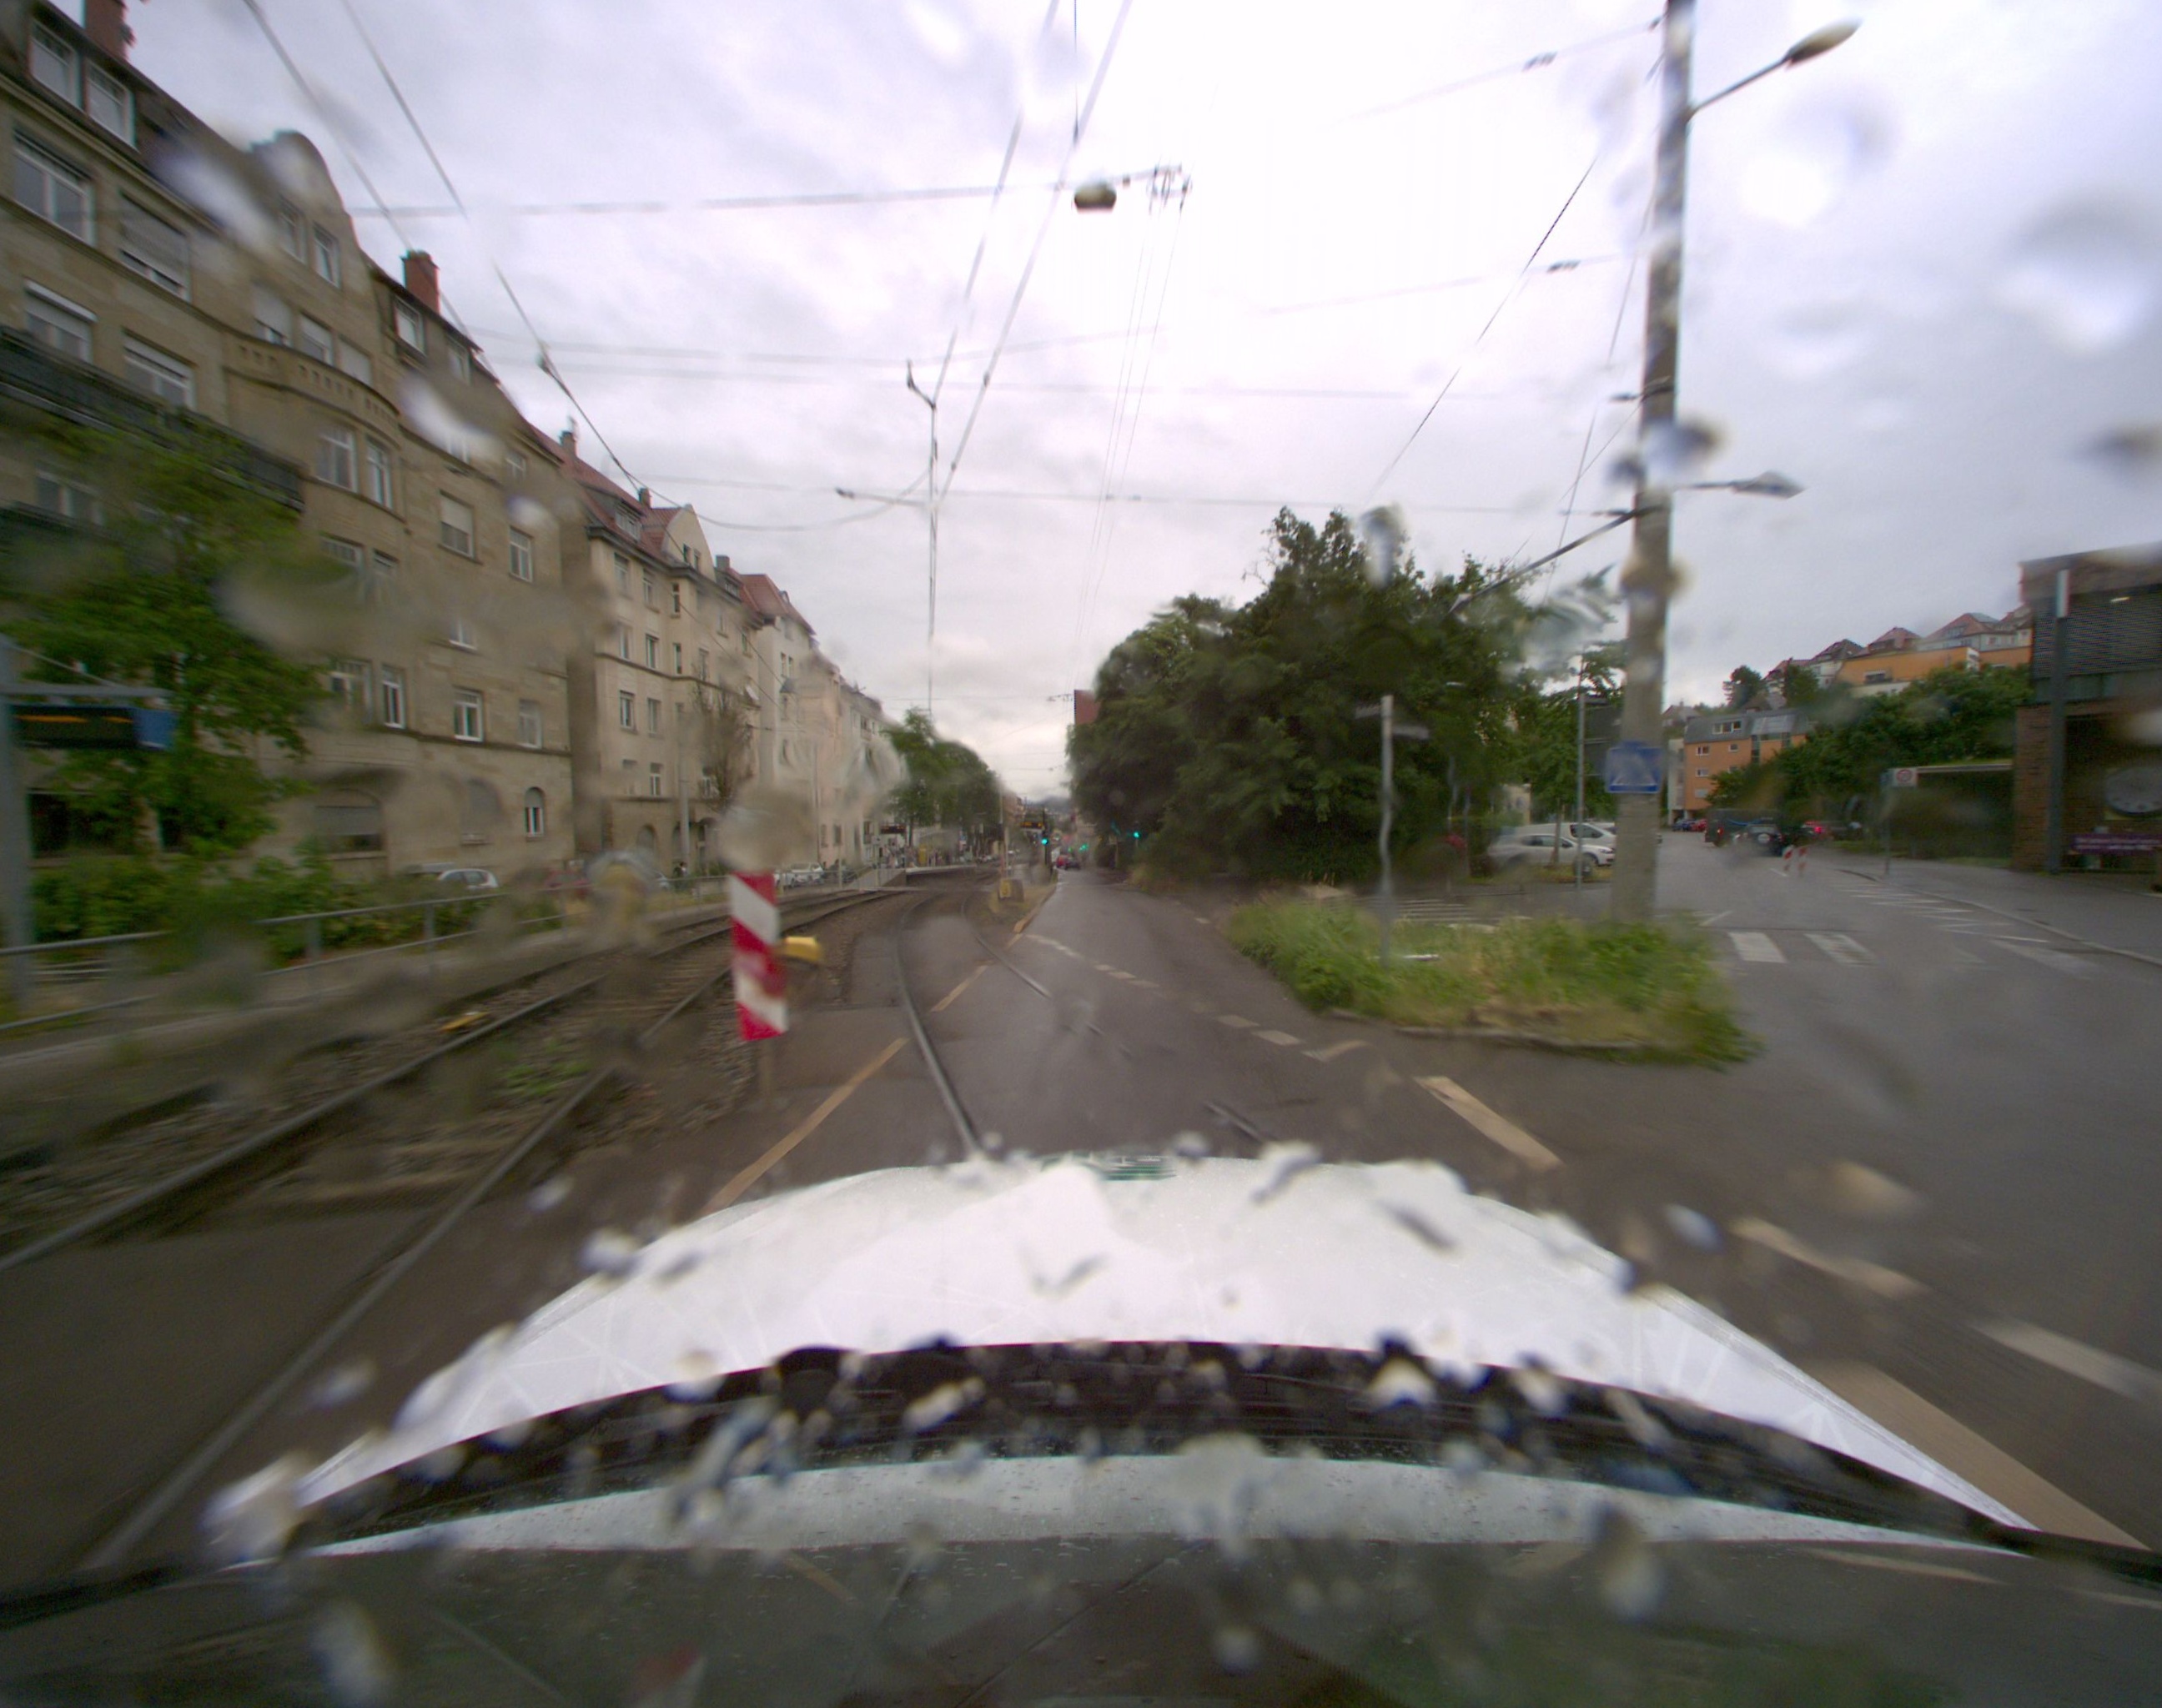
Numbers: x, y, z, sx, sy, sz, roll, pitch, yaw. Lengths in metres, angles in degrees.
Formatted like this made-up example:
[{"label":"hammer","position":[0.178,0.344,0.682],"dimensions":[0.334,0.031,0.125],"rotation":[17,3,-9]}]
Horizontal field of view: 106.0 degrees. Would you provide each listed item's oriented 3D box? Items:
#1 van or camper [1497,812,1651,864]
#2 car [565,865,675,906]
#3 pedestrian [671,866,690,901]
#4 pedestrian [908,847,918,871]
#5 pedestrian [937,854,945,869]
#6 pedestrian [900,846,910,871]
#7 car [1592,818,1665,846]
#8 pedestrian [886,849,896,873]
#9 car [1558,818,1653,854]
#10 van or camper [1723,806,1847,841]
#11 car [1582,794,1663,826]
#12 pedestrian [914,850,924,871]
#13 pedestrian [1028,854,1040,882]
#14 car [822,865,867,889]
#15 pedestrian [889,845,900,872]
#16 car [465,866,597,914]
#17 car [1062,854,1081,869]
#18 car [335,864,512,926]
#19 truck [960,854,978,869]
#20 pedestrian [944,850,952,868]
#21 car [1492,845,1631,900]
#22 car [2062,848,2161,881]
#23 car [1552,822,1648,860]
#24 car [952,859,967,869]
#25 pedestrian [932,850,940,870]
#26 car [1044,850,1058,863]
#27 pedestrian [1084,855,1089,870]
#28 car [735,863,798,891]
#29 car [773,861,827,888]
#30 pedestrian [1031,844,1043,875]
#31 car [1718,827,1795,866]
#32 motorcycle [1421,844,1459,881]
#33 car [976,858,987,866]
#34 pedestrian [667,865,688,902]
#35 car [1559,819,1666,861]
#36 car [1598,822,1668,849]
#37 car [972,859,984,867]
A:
[{"label":"van or camper","position":[20.450,-0.620,33.927],"dimensions":[5.115,1.834,2.012],"rotation":[-3,-1,43]},{"label":"car","position":[-18.183,1.201,32.415],"dimensions":[1.713,1.442,4.864],"rotation":[-1,-1,-2]},{"label":"pedestrian","position":[-17.848,1.316,36.311],"dimensions":[0.518,1.532,0.620],"rotation":[-1,-1,0]},{"label":"pedestrian","position":[-13.185,0.418,63.871],"dimensions":[0.514,1.838,0.761],"rotation":[-3,-1,-2]},{"label":"pedestrian","position":[-12.944,0.693,75.371],"dimensions":[0.548,1.413,0.613],"rotation":[-3,-1,-2]},{"label":"pedestrian","position":[-13.062,0.363,60.336],"dimensions":[0.514,1.838,0.761],"rotation":[-3,-1,-2]},{"label":"car","position":[37.206,-1.491,55.359],"dimensions":[3.949,1.772,1.859],"rotation":[0,1,40]},{"label":"pedestrian","position":[-13.090,0.459,56.032],"dimensions":[0.514,1.605,0.562],"rotation":[-3,-1,-2]},{"label":"car","position":[27.534,-0.909,42.805],"dimensions":[3.949,1.772,1.859],"rotation":[0,1,40]},{"label":"van or camper","position":[46.160,-1.960,53.544],"dimensions":[5.882,2.013,2.008],"rotation":[-2,0,15]},{"label":"car","position":[33.349,-2.646,50.159],"dimensions":[3.949,1.772,1.859],"rotation":[0,1,40]},{"label":"pedestrian","position":[-13.233,0.542,66.404],"dimensions":[0.592,1.666,0.761],"rotation":[-3,-1,-2]},{"label":"pedestrian","position":[-2.633,0.763,45.627],"dimensions":[0.648,1.562,0.683],"rotation":[-1,-1,-1]},{"label":"car","position":[-18.278,1.778,63.221],"dimensions":[1.986,1.732,4.814],"rotation":[-2,-1,1]},{"label":"pedestrian","position":[-12.723,0.312,55.473],"dimensions":[0.559,1.850,0.598],"rotation":[-3,-1,-2]},{"label":"car","position":[-18.376,1.138,27.459],"dimensions":[1.626,1.442,4.173],"rotation":[-1,-1,-1]},{"label":"car","position":[-1.058,0.798,88.386],"dimensions":[1.847,1.473,3.996],"rotation":[-1,0,-3]},{"label":"car","position":[-18.259,1.069,22.895],"dimensions":[1.626,1.547,4.172],"rotation":[-1,-1,-1]},{"label":"truck","position":[-19.664,1.307,143.172],"dimensions":[2.043,2.393,6.323],"rotation":[-1,0,2]},{"label":"pedestrian","position":[-12.503,0.476,76.644],"dimensions":[0.548,1.741,0.613],"rotation":[-3,-1,-2]},{"label":"car","position":[18.709,0.706,31.785],"dimensions":[4.451,2.014,2.013],"rotation":[-1,-1,37]},{"label":"car","position":[41.446,0.421,31.791],"dimensions":[2.010,1.244,3.954],"rotation":[0,-1,-38]},{"label":"car","position":[26.242,-0.641,41.250],"dimensions":[3.854,1.684,1.749],"rotation":[-3,-1,39]},{"label":"car","position":[-19.786,1.592,133.006],"dimensions":[1.720,1.515,4.495],"rotation":[-1,0,0]},{"label":"pedestrian","position":[-12.840,0.538,72.194],"dimensions":[0.592,1.666,0.591],"rotation":[-3,-1,-2]},{"label":"car","position":[-4.336,0.320,115.872],"dimensions":[1.944,1.793,4.139],"rotation":[0,-1,-3]},{"label":"pedestrian","position":[0.679,1.042,102.253],"dimensions":[0.553,1.813,0.650],"rotation":[-1,-1,-4]},{"label":"car","position":[-18.669,1.375,48.629],"dimensions":[1.987,1.533,4.530],"rotation":[1,-2,-1]},{"label":"car","position":[-18.662,1.343,54.260],"dimensions":[1.917,1.622,4.534],"rotation":[-2,0,0]},{"label":"pedestrian","position":[-2.601,0.329,48.653],"dimensions":[0.648,1.784,0.847],"rotation":[-1,-1,-1]},{"label":"car","position":[37.063,-0.426,44.810],"dimensions":[1.976,2.013,4.021],"rotation":[-2,0,21]},{"label":"motorcycle","position":[14.516,0.333,32.892],"dimensions":[0.814,1.375,2.445],"rotation":[4,2,37]},{"label":"car","position":[-19.975,1.652,164.325],"dimensions":[1.768,1.546,4.252],"rotation":[-3,0,-2]},{"label":"pedestrian","position":[-17.646,1.263,35.614],"dimensions":[0.623,1.593,0.620],"rotation":[-1,-1,0]},{"label":"car","position":[24.177,-0.600,37.086],"dimensions":[3.854,1.684,1.749],"rotation":[-3,-1,39]},{"label":"car","position":[39.210,-1.300,57.872],"dimensions":[3.949,1.772,1.859],"rotation":[0,1,40]},{"label":"car","position":[-19.826,1.665,157.083],"dimensions":[1.768,1.453,4.252],"rotation":[-3,0,-2]}]
